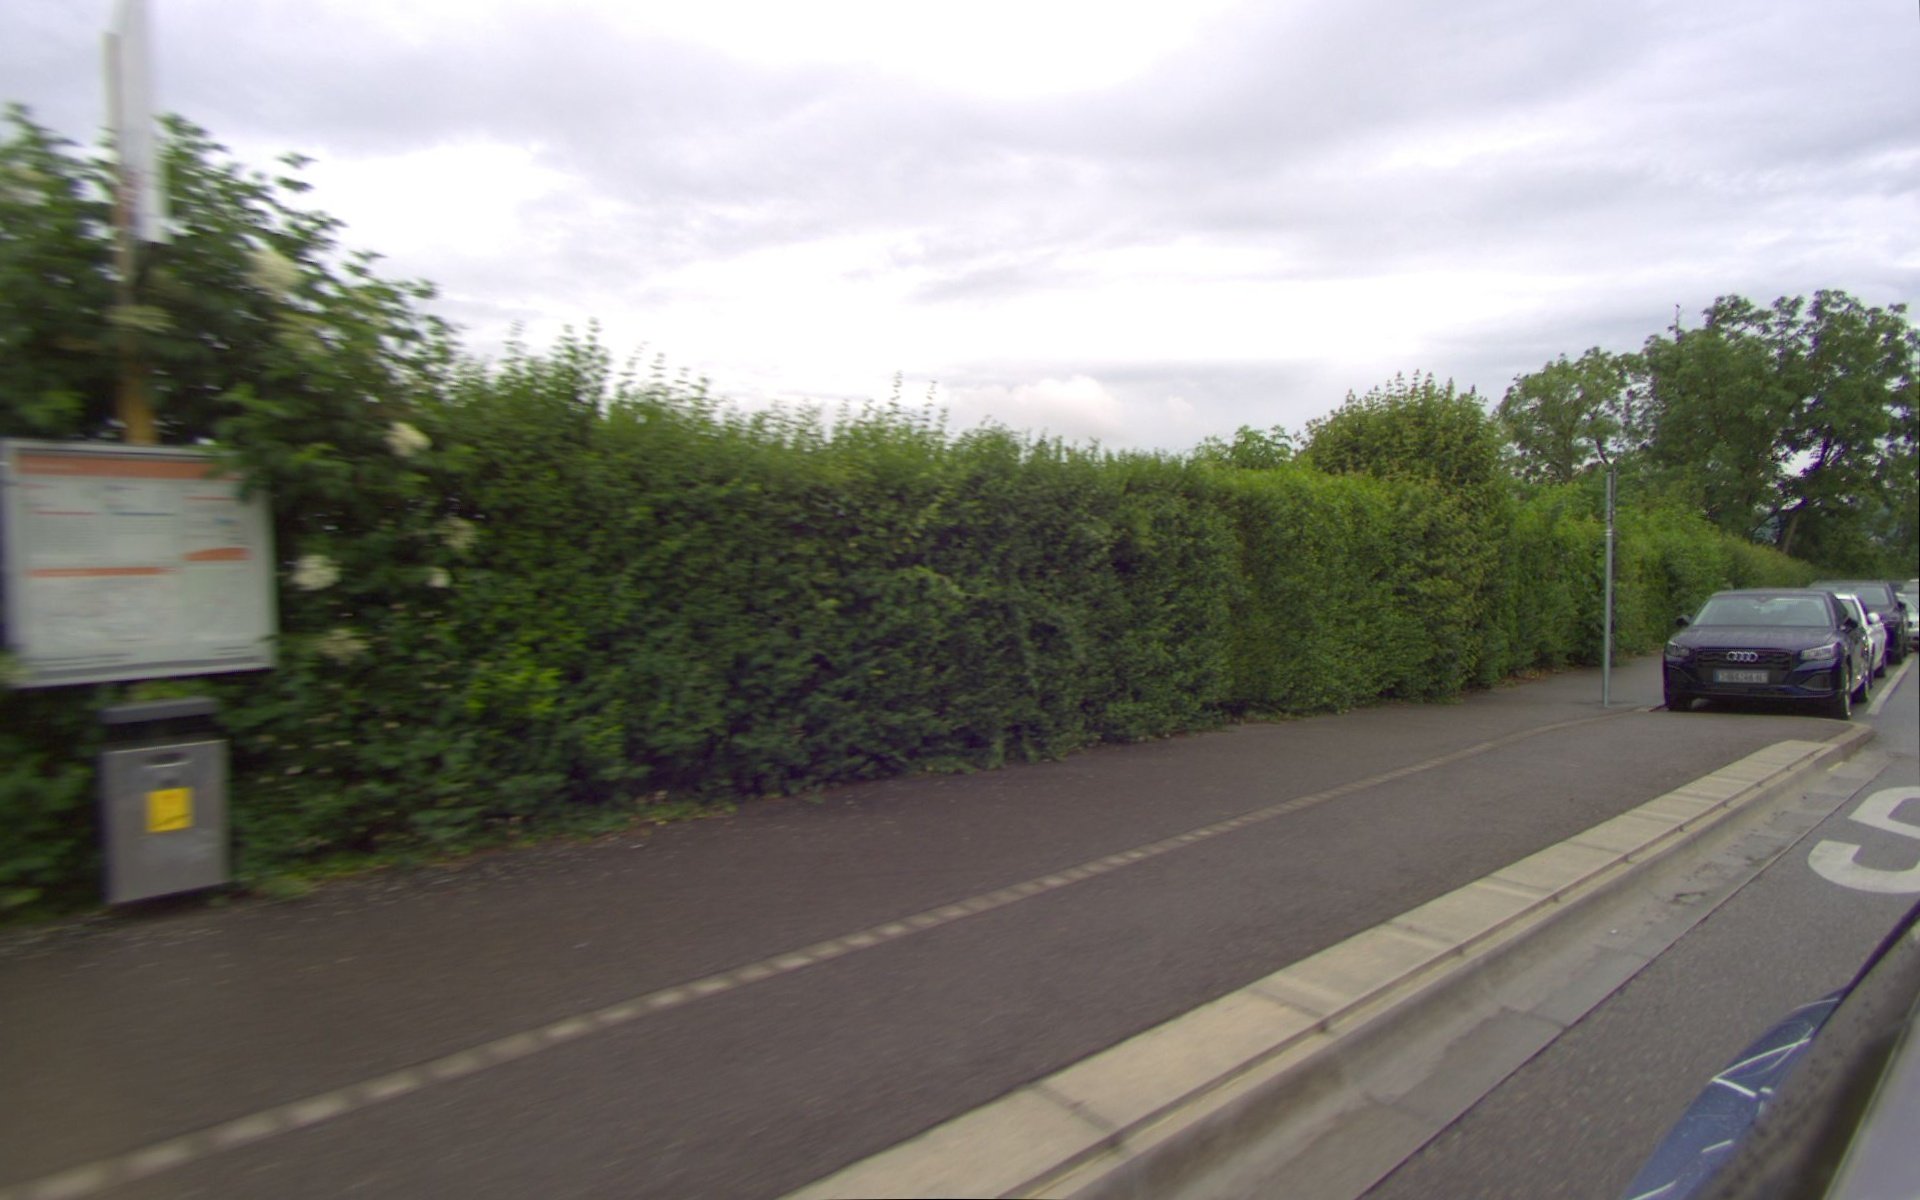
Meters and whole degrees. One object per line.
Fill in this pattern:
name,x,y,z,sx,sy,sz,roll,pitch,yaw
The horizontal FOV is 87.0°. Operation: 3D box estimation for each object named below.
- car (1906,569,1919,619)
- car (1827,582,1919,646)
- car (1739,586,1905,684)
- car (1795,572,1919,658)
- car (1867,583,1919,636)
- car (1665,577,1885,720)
car,40.437,-0.194,41.223,4.717,1.972,1.866,1,3,-37
car,23.280,0.319,25.287,1.791,1.458,4.589,1,1,32
car,14.444,0.495,16.865,4.532,1.423,1.714,0,0,-44
car,19.569,0.277,21.921,1.888,1.684,4.474,0,0,45
car,27.873,0.236,29.551,3.916,1.439,1.691,-1,2,-43
car,10.610,0.490,13.070,4.137,1.549,1.755,-1,1,-44
